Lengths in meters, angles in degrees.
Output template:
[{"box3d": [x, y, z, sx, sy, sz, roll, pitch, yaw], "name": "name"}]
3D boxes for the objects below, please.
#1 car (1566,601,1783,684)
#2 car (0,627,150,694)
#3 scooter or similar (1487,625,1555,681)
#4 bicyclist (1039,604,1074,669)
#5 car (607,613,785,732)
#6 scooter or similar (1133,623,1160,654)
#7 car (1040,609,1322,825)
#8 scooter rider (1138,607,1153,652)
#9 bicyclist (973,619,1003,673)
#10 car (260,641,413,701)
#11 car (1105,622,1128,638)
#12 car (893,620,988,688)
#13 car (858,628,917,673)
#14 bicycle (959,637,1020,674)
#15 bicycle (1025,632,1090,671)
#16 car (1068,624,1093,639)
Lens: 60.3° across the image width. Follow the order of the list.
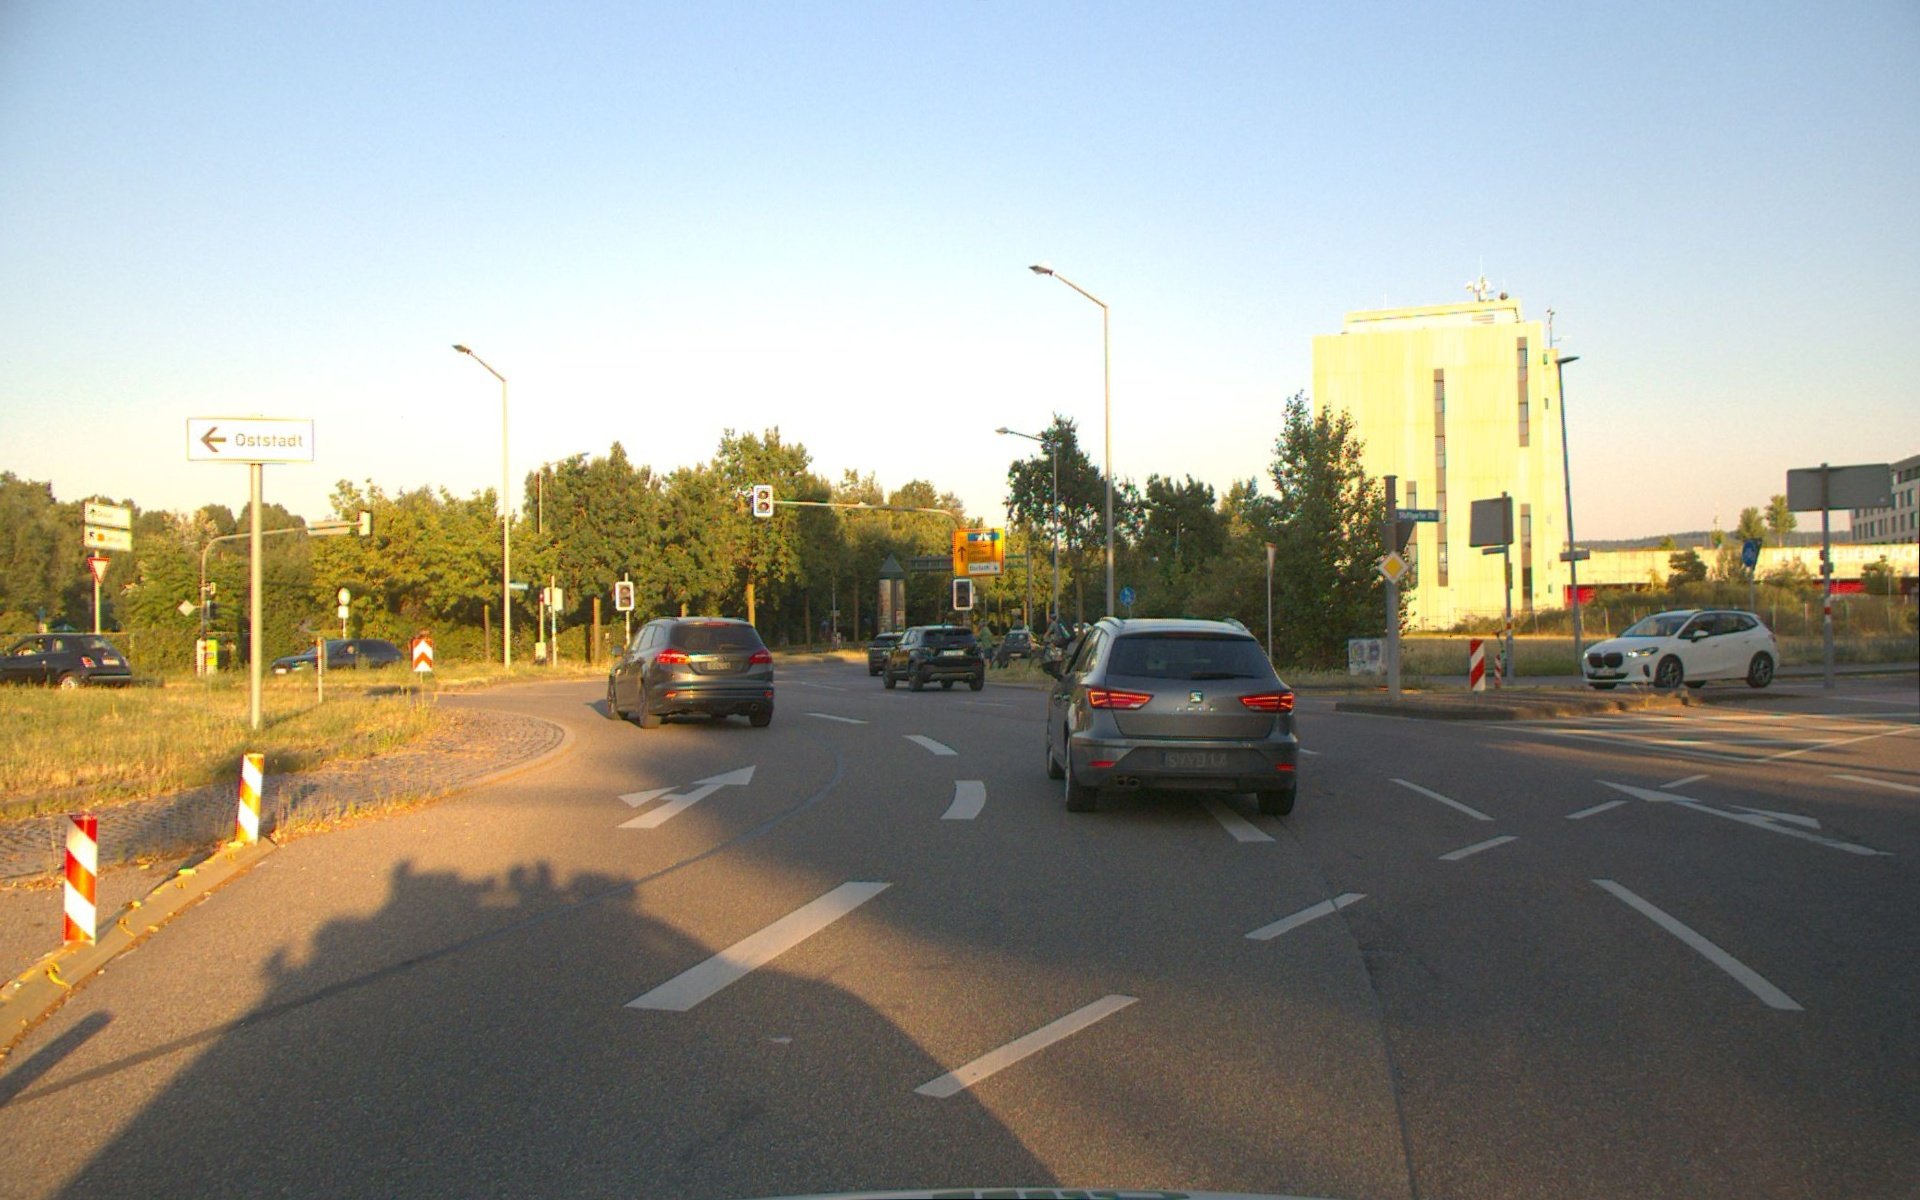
[{"box3d": [14.442, 0.845, 33.439, 4.032, 1.586, 1.874, 0, -2, -27], "name": "car"}, {"box3d": [-21.152, 1.405, 39.205, 4.049, 1.471, 1.746, -1, -1, 34], "name": "car"}, {"box3d": [12.180, 1.136, 35.941, 0.438, 1.183, 1.364, 0, -1, -38], "name": "scooter or similar"}, {"box3d": [2.957, 1.113, 50.674, 0.888, 1.931, 0.642, -3, -1, 13], "name": "bicyclist"}, {"box3d": [-3.808, 0.945, 23.313, 1.720, 1.492, 4.110, 0, -1, -20], "name": "car"}, {"box3d": [5.767, 1.180, 51.123, 0.244, 0.930, 1.028, 0, -1, -31], "name": "scooter or similar"}, {"box3d": [1.607, 0.813, 13.351, 1.710, 1.449, 4.134, -1, 0, 0], "name": "car"}, {"box3d": [5.738, 0.907, 51.105, 0.261, 1.362, 0.402, 0, -1, -31], "name": "scooter rider"}, {"box3d": [0.920, 1.497, 53.968, 0.751, 1.732, 0.642, -3, -2, 13], "name": "bicyclist"}, {"box3d": [-20.308, 2.288, 54.030, 1.714, 1.778, 4.586, -1, -1, 32], "name": "car"}, {"box3d": [17.713, 3.391, 186.963, 1.759, 1.662, 4.458, -2, -2, 16], "name": "car"}, {"box3d": [-0.530, 1.285, 40.573, 1.779, 1.552, 4.126, 0, 0, -8], "name": "car"}, {"box3d": [-2.593, 1.802, 59.672, 1.709, 1.515, 4.136, -1, 0, 3], "name": "car"}, {"box3d": [0.962, 1.820, 53.888, 1.881, 1.104, 0.457, -4, -2, 14], "name": "bicycle"}, {"box3d": [2.983, 1.587, 50.733, 1.881, 1.104, 0.457, -3, -1, 14], "name": "bicycle"}, {"box3d": [12.100, 3.189, 166.300, 1.685, 1.474, 4.553, -1, -1, 14], "name": "car"}]
